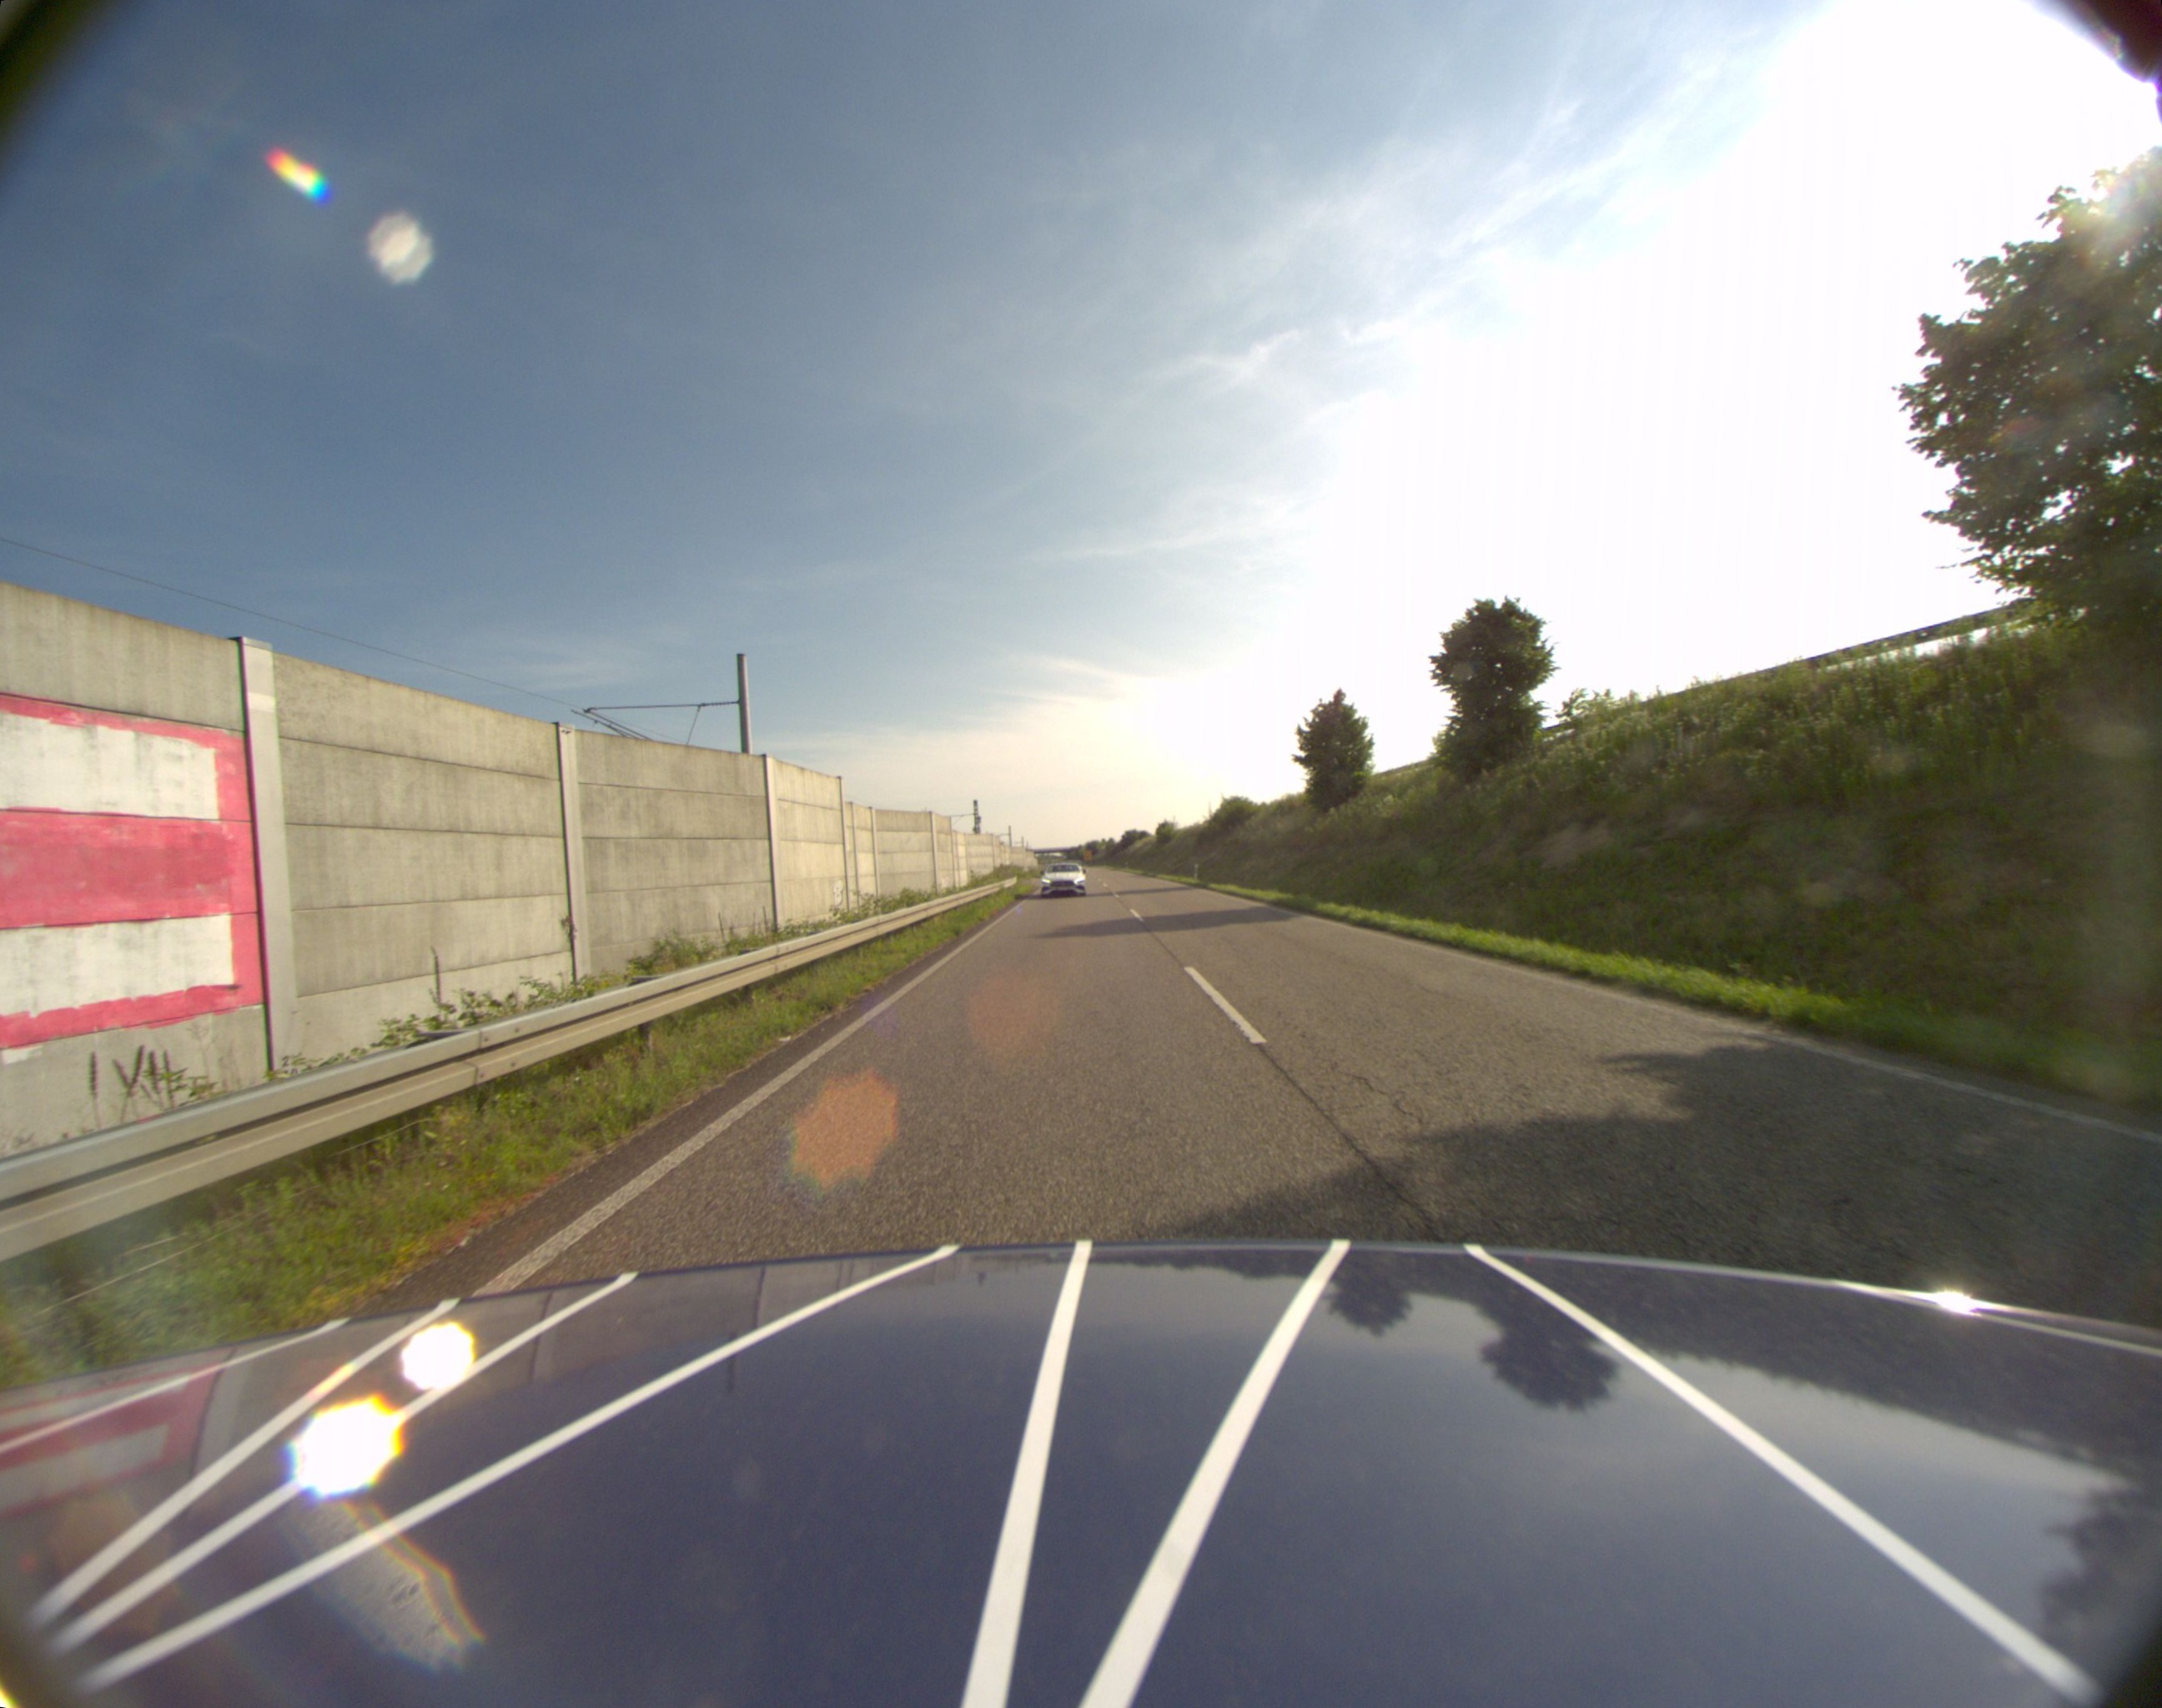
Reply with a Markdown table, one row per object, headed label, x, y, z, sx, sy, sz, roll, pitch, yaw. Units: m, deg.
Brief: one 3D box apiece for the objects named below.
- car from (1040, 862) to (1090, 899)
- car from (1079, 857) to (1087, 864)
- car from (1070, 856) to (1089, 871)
| label | x | y | z | sx | sy | sz | roll | pitch | yaw |
| --- | --- | --- | --- | --- | --- | --- | --- | --- | --- |
| car | -0.691 | 1.078 | 33.031 | 1.930 | 1.398 | 4.974 | -3 | -1 | -1 |
| car | 0.533 | 1.729 | 202.890 | 2.146 | 1.564 | 5.339 | -2 | 0 | -1 |
| car | -0.144 | 1.007 | 81.968 | 1.930 | 1.399 | 4.973 | -2 | 0 | 0 |
